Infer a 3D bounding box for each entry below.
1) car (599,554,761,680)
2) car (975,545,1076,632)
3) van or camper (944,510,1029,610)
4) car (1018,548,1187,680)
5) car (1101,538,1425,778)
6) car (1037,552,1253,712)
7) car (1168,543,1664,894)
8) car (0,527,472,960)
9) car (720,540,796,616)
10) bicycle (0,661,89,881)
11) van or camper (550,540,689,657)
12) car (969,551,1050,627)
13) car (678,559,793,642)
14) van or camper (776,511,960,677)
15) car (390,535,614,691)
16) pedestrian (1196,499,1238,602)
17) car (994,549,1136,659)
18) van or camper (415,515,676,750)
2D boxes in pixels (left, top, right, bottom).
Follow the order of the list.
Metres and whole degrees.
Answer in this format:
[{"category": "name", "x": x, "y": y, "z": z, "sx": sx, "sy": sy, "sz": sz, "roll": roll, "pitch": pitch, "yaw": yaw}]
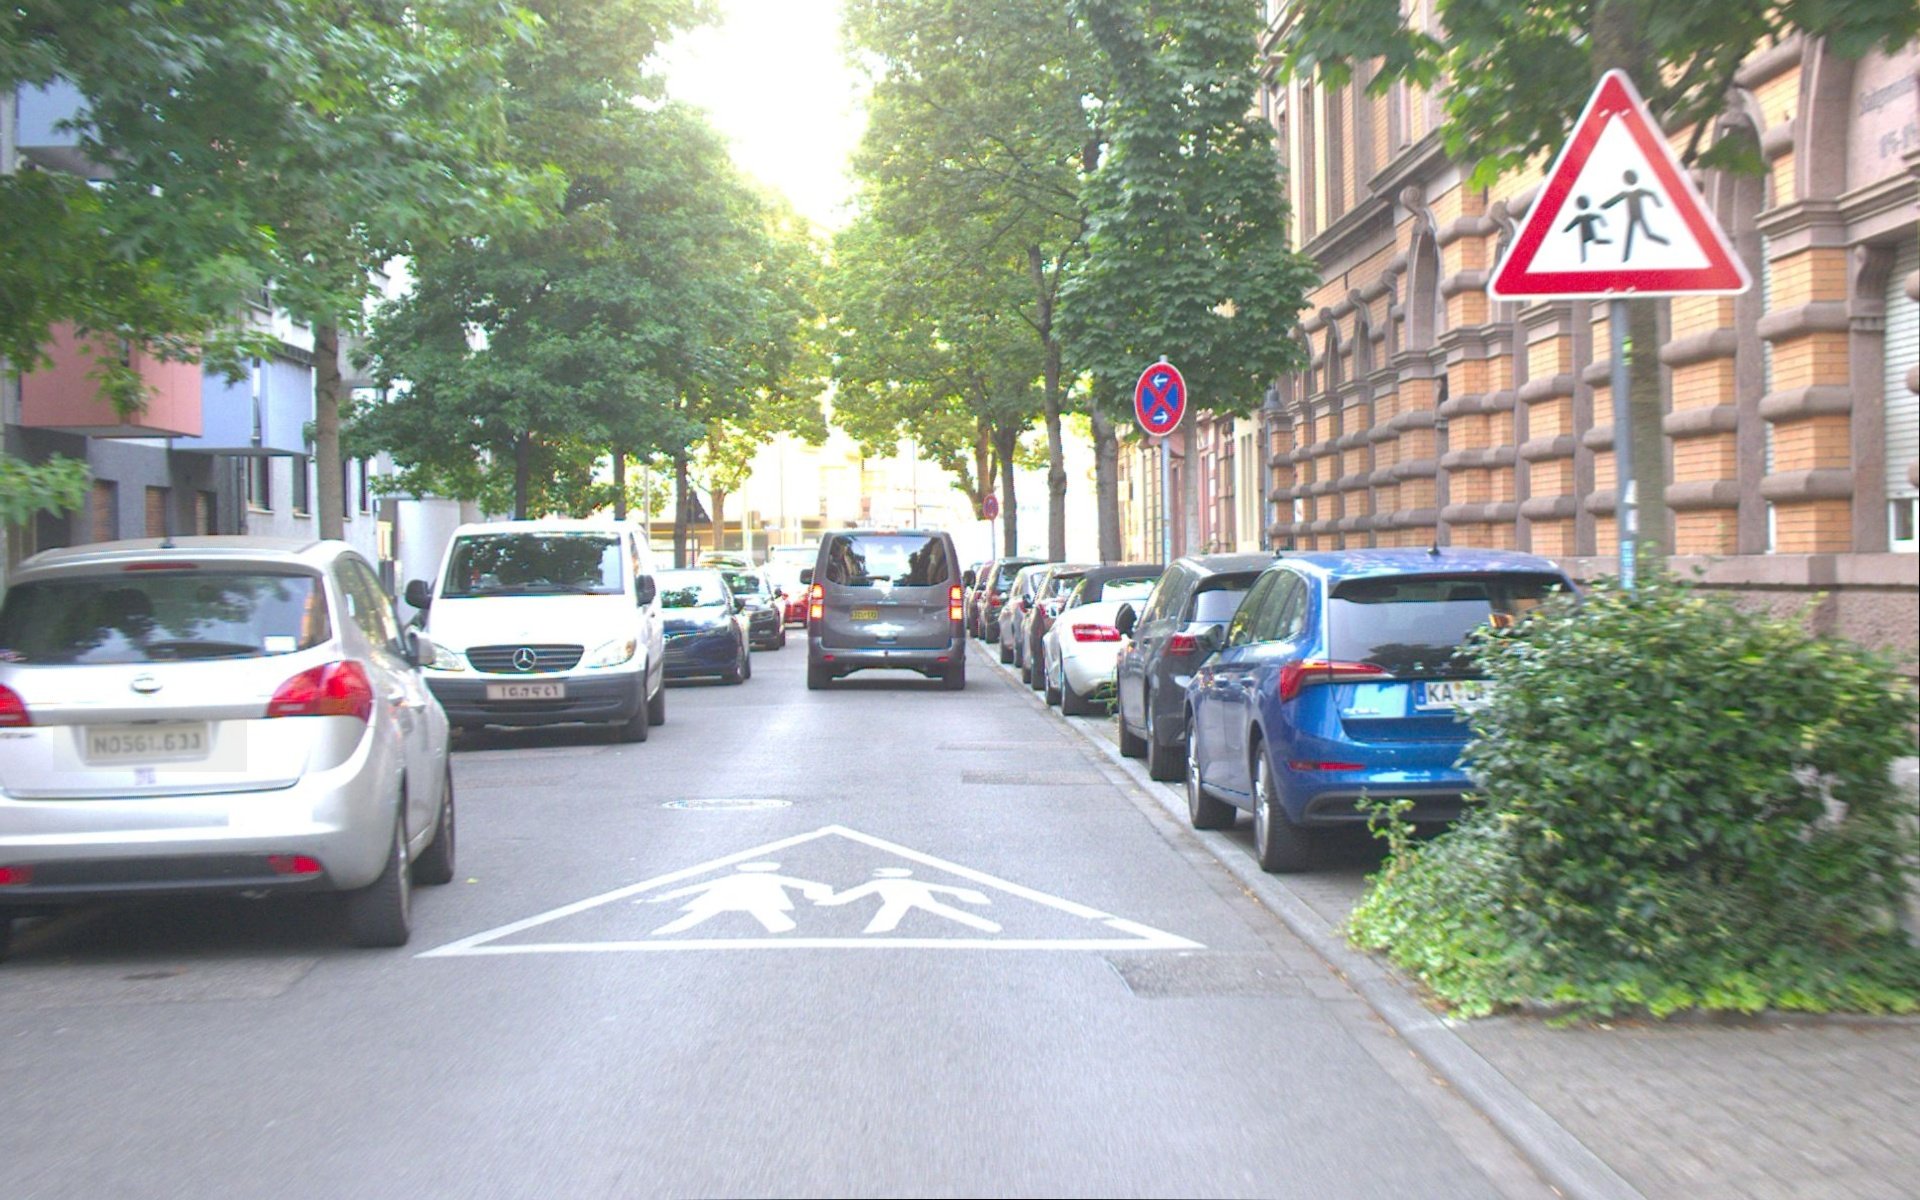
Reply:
[{"category": "car", "x": -3.538, "y": 0.190, "z": 44.100, "sx": 1.830, "sy": 1.512, "sz": 4.516, "roll": -1, "pitch": 0, "yaw": -2}, {"category": "car", "x": 1.210, "y": -0.235, "z": 64.823, "sx": 1.611, "sy": 1.553, "sz": 3.767, "roll": -2, "pitch": 1, "yaw": -3}, {"category": "van or camper", "x": 0.684, "y": -1.077, "z": 92.822, "sx": 1.993, "sy": 2.590, "sz": 5.425, "roll": -1, "pitch": 1, "yaw": -2}, {"category": "car", "x": 1.643, "y": 0.146, "z": 40.914, "sx": 1.722, "sy": 1.445, "sz": 4.215, "roll": -2, "pitch": 0, "yaw": -1}, {"category": "car", "x": 1.977, "y": 0.330, "z": 23.530, "sx": 1.711, "sy": 1.472, "sz": 4.193, "roll": -1, "pitch": 1, "yaw": -2}, {"category": "car", "x": 1.738, "y": 0.260, "z": 33.578, "sx": 1.693, "sy": 1.396, "sz": 4.646, "roll": -2, "pitch": 1, "yaw": -2}, {"category": "car", "x": 2.081, "y": 0.475, "z": 16.806, "sx": 1.627, "sy": 1.461, "sz": 4.246, "roll": -1, "pitch": 1, "yaw": -3}, {"category": "car", "x": -3.067, "y": 0.499, "z": 14.619, "sx": 1.663, "sy": 1.558, "sz": 4.001, "roll": -1, "pitch": 1, "yaw": -4}, {"category": "car", "x": -4.569, "y": -0.523, "z": 78.208, "sx": 1.630, "sy": 1.425, "sz": 3.544, "roll": -1, "pitch": 4, "yaw": -2}, {"category": "bicycle", "x": -5.046, "y": 0.803, "z": 16.603, "sx": 1.728, "sy": 0.991, "sz": 0.575, "roll": -1, "pitch": 1, "yaw": 33}, {"category": "van or camper", "x": -5.538, "y": -0.066, "z": 56.347, "sx": 1.931, "sy": 1.754, "sz": 4.466, "roll": 2, "pitch": 1, "yaw": -2}, {"category": "car", "x": 1.017, "y": -0.237, "z": 69.120, "sx": 1.551, "sy": 1.491, "sz": 3.610, "roll": 0, "pitch": 1, "yaw": 2}, {"category": "car", "x": -4.032, "y": -0.022, "z": 62.285, "sx": 1.846, "sy": 1.446, "sz": 4.503, "roll": 0, "pitch": 1, "yaw": -1}, {"category": "van or camper", "x": -1.054, "y": -0.095, "z": 41.625, "sx": 2.035, "sy": 1.891, "sz": 4.271, "roll": 0, "pitch": 1, "yaw": 1}, {"category": "car", "x": -5.162, "y": 0.108, "z": 39.367, "sx": 1.993, "sy": 1.641, "sz": 4.922, "roll": 1, "pitch": 1, "yaw": -1}, {"category": "pedestrian", "x": 4.104, "y": -0.792, "z": 54.968, "sx": 0.627, "sy": 1.643, "sz": 0.532, "roll": 0, "pitch": 1, "yaw": 0}, {"category": "car", "x": 1.507, "y": 0.034, "z": 50.821, "sx": 1.697, "sy": 1.477, "sz": 4.001, "roll": -3, "pitch": 1, "yaw": -3}, {"category": "van or camper", "x": -3.511, "y": 0.218, "z": 29.877, "sx": 1.876, "sy": 1.836, "sz": 4.753, "roll": -1, "pitch": 1, "yaw": -3}]
